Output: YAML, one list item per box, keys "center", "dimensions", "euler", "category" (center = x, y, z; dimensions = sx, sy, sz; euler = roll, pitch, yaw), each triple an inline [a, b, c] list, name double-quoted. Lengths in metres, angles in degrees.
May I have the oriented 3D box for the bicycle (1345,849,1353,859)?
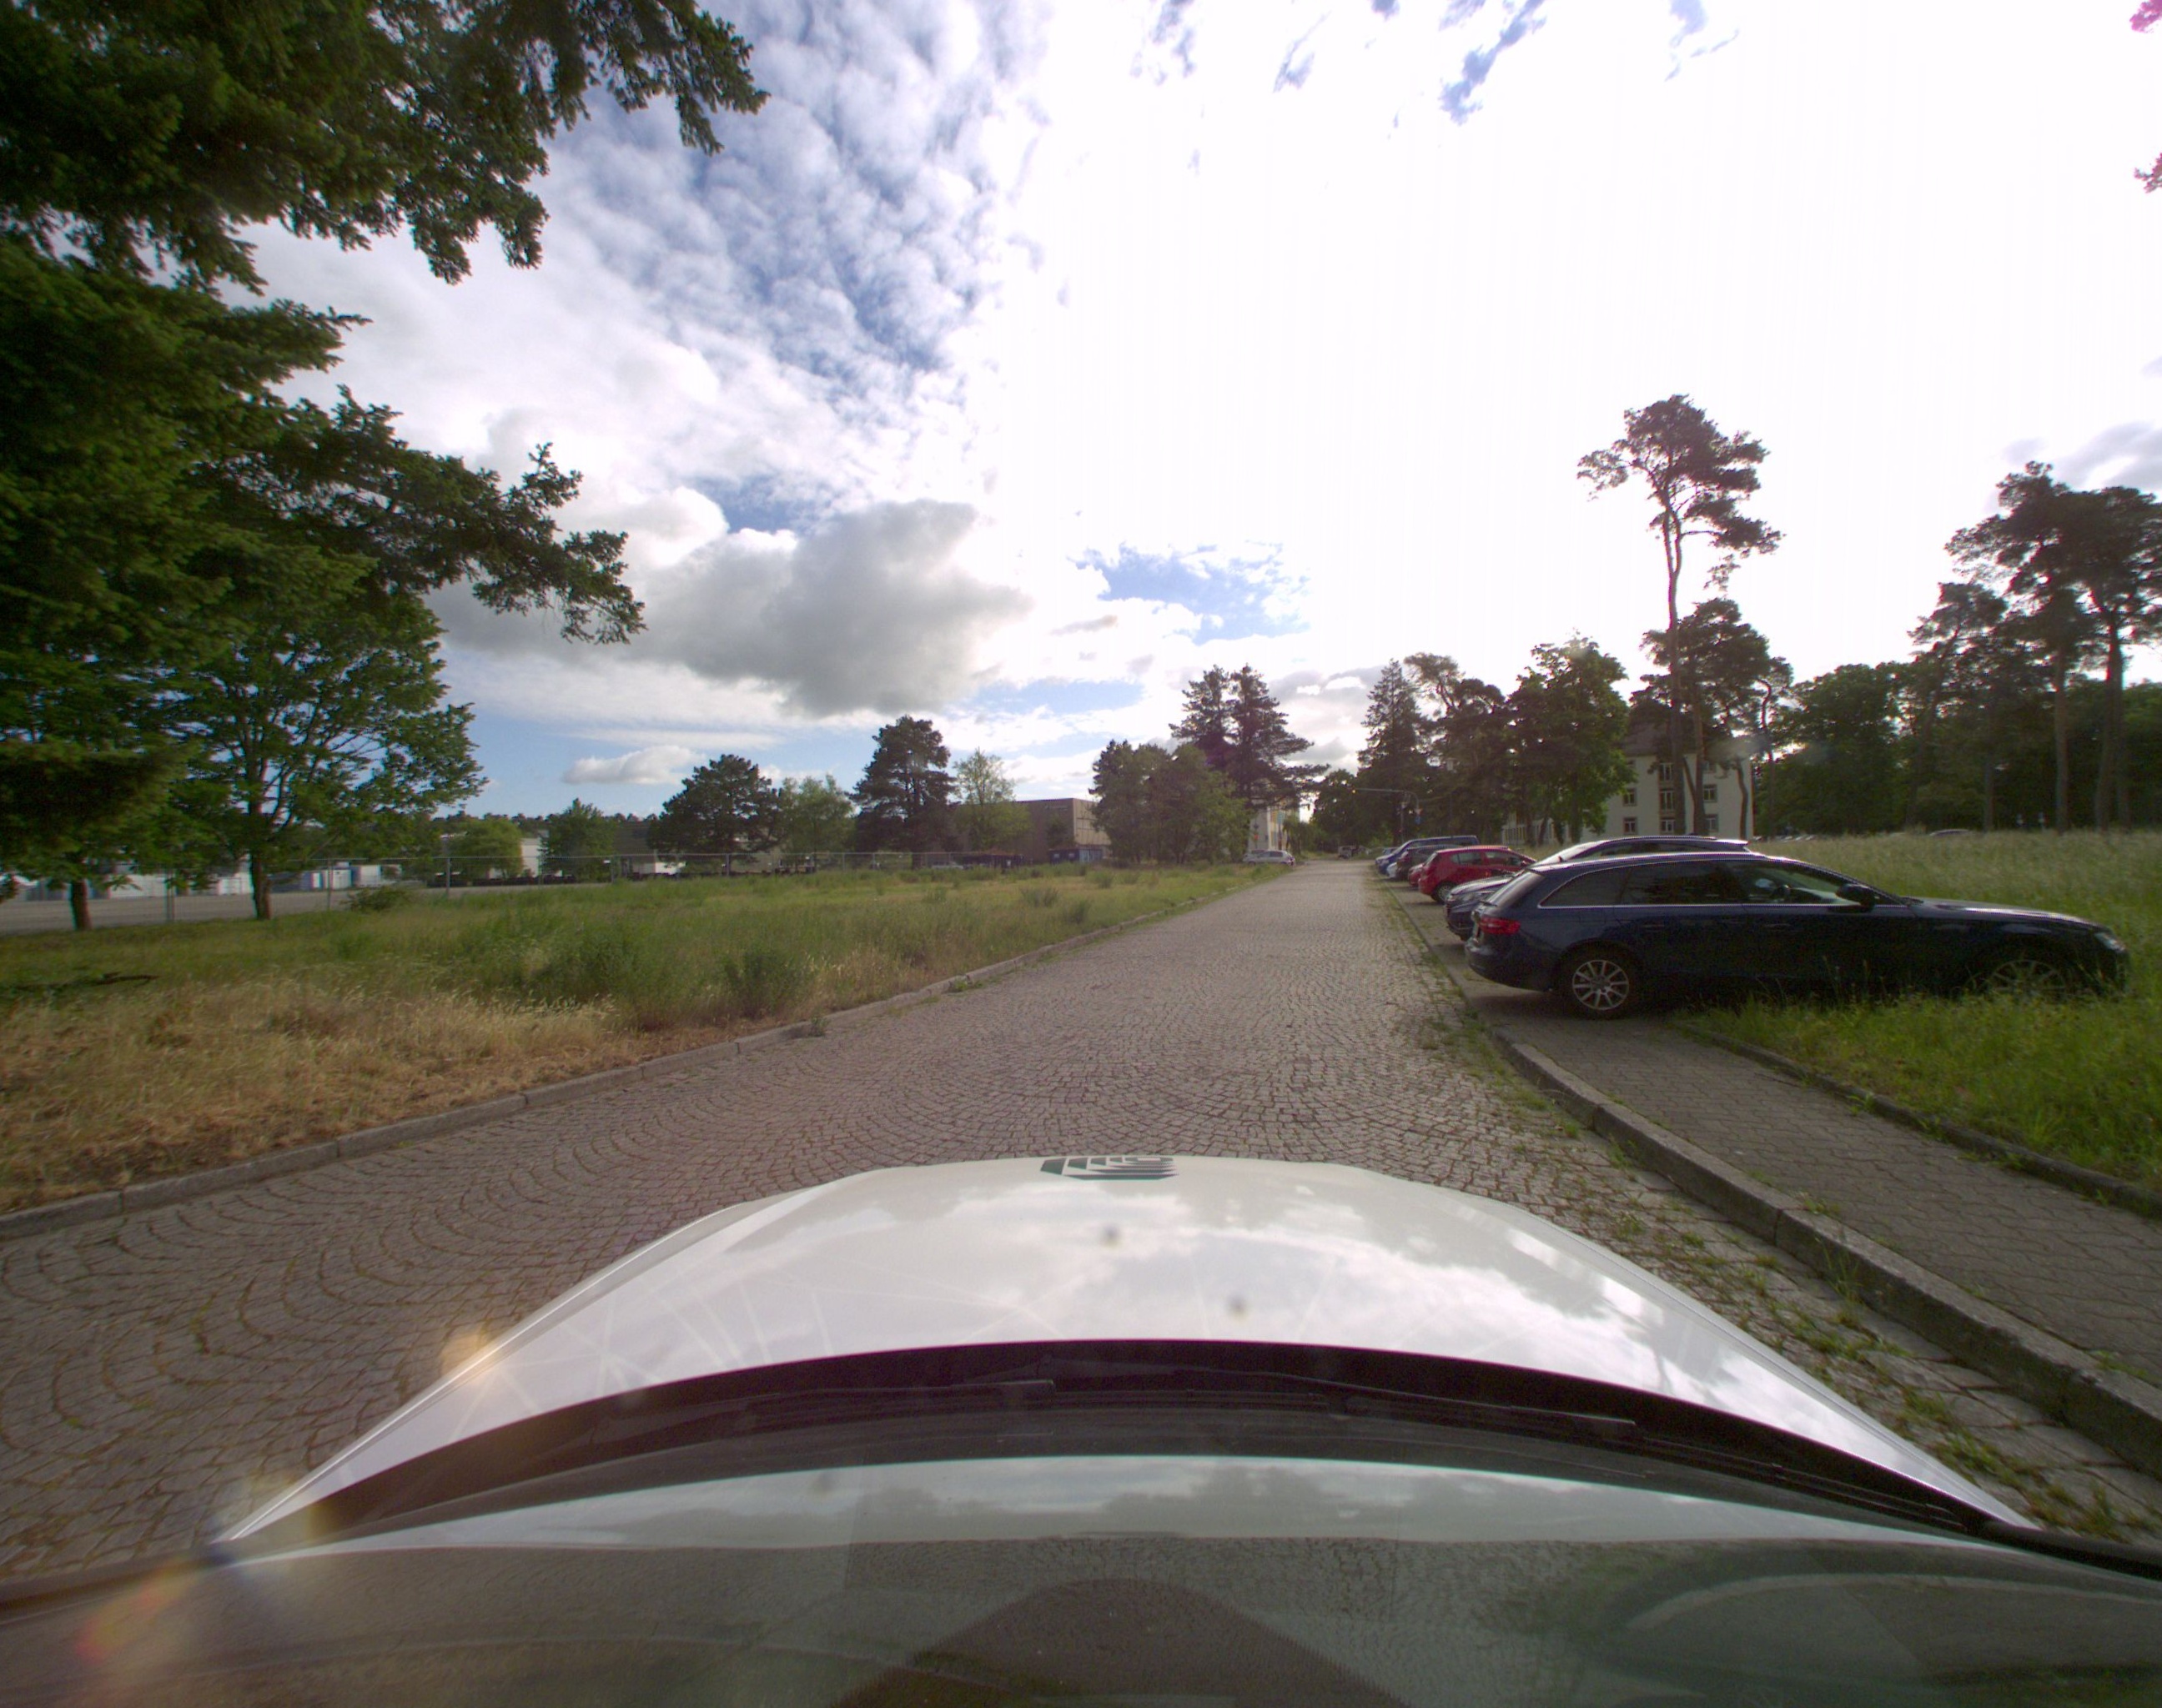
- center: [35.255, 0.001, 107.146]
  dimensions: [0.803, 1.268, 1.983]
  euler: [-2, 0, 20]
  category: "bicycle"

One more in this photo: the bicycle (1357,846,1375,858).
- center: [38.939, -0.269, 111.272]
  dimensions: [2.146, 1.616, 0.815]
  euler: [-2, 0, 12]
  category: "bicycle"

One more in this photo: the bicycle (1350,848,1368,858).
- center: [37.837, -0.090, 110.888]
  dimensions: [2.146, 1.268, 0.815]
  euler: [-2, 0, 12]
  category: "bicycle"

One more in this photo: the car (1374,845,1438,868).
- center: [22.929, 0.172, 57.649]
  dimensions: [3.959, 1.543, 1.670]
  euler: [-2, 0, 13]
  category: "car"

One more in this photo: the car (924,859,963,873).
- center: [-15.834, 1.368, 93.932]
  dimensions: [3.955, 1.553, 1.817]
  euler: [-2, 0, 18]
  category: "car"

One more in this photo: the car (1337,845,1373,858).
- center: [42.875, -0.406, 127.466]
  dimensions: [5.022, 2.013, 2.005]
  euler: [-1, 0, 8]
  category: "car"

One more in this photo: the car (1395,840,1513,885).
- center: [14.282, 0.322, 31.442]
  dimensions: [3.919, 1.580, 1.770]
  euler: [-2, 0, 17]
  category: "car"

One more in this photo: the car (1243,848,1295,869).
- center: [15.018, 0.331, 65.143]
  dimensions: [3.960, 1.552, 2.007]
  euler: [-2, 0, 12]
  category: "car"

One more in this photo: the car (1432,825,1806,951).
- center: [7.628, 0.503, 12.084]
  dimensions: [4.228, 1.573, 1.904]
  euler: [-3, 0, 18]
  category: "car"

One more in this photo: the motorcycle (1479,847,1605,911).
- center: [9.889, 0.542, 17.551]
  dimensions: [2.248, 1.275, 0.608]
  euler: [-2, -1, 13]
  category: "motorcycle"

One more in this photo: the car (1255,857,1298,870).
- center: [17.409, 0.845, 72.595]
  dimensions: [3.645, 1.094, 1.652]
  euler: [-2, 0, 12]
  category: "car"

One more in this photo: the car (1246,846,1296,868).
- center: [15.768, 0.258, 67.613]
  dimensions: [3.960, 1.706, 2.007]
  euler: [-2, 0, 12]
  category: "car"

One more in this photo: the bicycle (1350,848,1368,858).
- center: [37.651, -0.093, 110.328]
  dimensions: [2.146, 1.268, 0.815]
  euler: [-2, 0, 12]
  category: "bicycle"

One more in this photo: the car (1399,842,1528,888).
- center: [13.564, 0.395, 29.122]
  dimensions: [3.954, 1.518, 1.746]
  euler: [-2, 0, 18]
  category: "car"

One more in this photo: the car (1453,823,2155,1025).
- center: [6.000, 0.608, 7.593]
  dimensions: [4.465, 1.464, 1.906]
  euler: [-3, 0, 22]
  category: "car"

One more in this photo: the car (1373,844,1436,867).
- center: [23.894, 0.091, 60.314]
  dimensions: [4.094, 1.543, 1.670]
  euler: [-2, 0, 13]
  category: "car"

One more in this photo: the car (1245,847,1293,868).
- center: [16.223, 0.290, 70.562]
  dimensions: [3.960, 1.750, 1.933]
  euler: [-1, 0, 11]
  category: "car"

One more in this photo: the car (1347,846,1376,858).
- center: [42.726, -0.296, 124.043]
  dimensions: [3.960, 1.644, 2.007]
  euler: [-2, 0, 12]
  category: "car"

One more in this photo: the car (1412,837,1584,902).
- center: [11.022, 0.411, 21.827]
  dimensions: [3.809, 1.505, 1.746]
  euler: [-3, 0, 17]
  category: "car"

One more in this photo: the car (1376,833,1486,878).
- center: [17.137, 0.073, 40.114]
  dimensions: [4.745, 2.040, 1.746]
  euler: [-2, 0, 16]
  category: "car"

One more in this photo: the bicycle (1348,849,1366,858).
- center: [38.007, -0.082, 112.117]
  dimensions: [2.146, 1.268, 0.815]
  euler: [-2, 0, 12]
  category: "bicycle"

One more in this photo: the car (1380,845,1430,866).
- center: [24.942, 0.126, 62.686]
  dimensions: [3.365, 1.543, 1.396]
  euler: [-2, 0, 13]
  category: "car"

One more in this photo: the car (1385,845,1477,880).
- center: [16.151, 0.379, 37.765]
  dimensions: [3.694, 1.424, 1.661]
  euler: [-3, -1, 16]
  category: "car"
